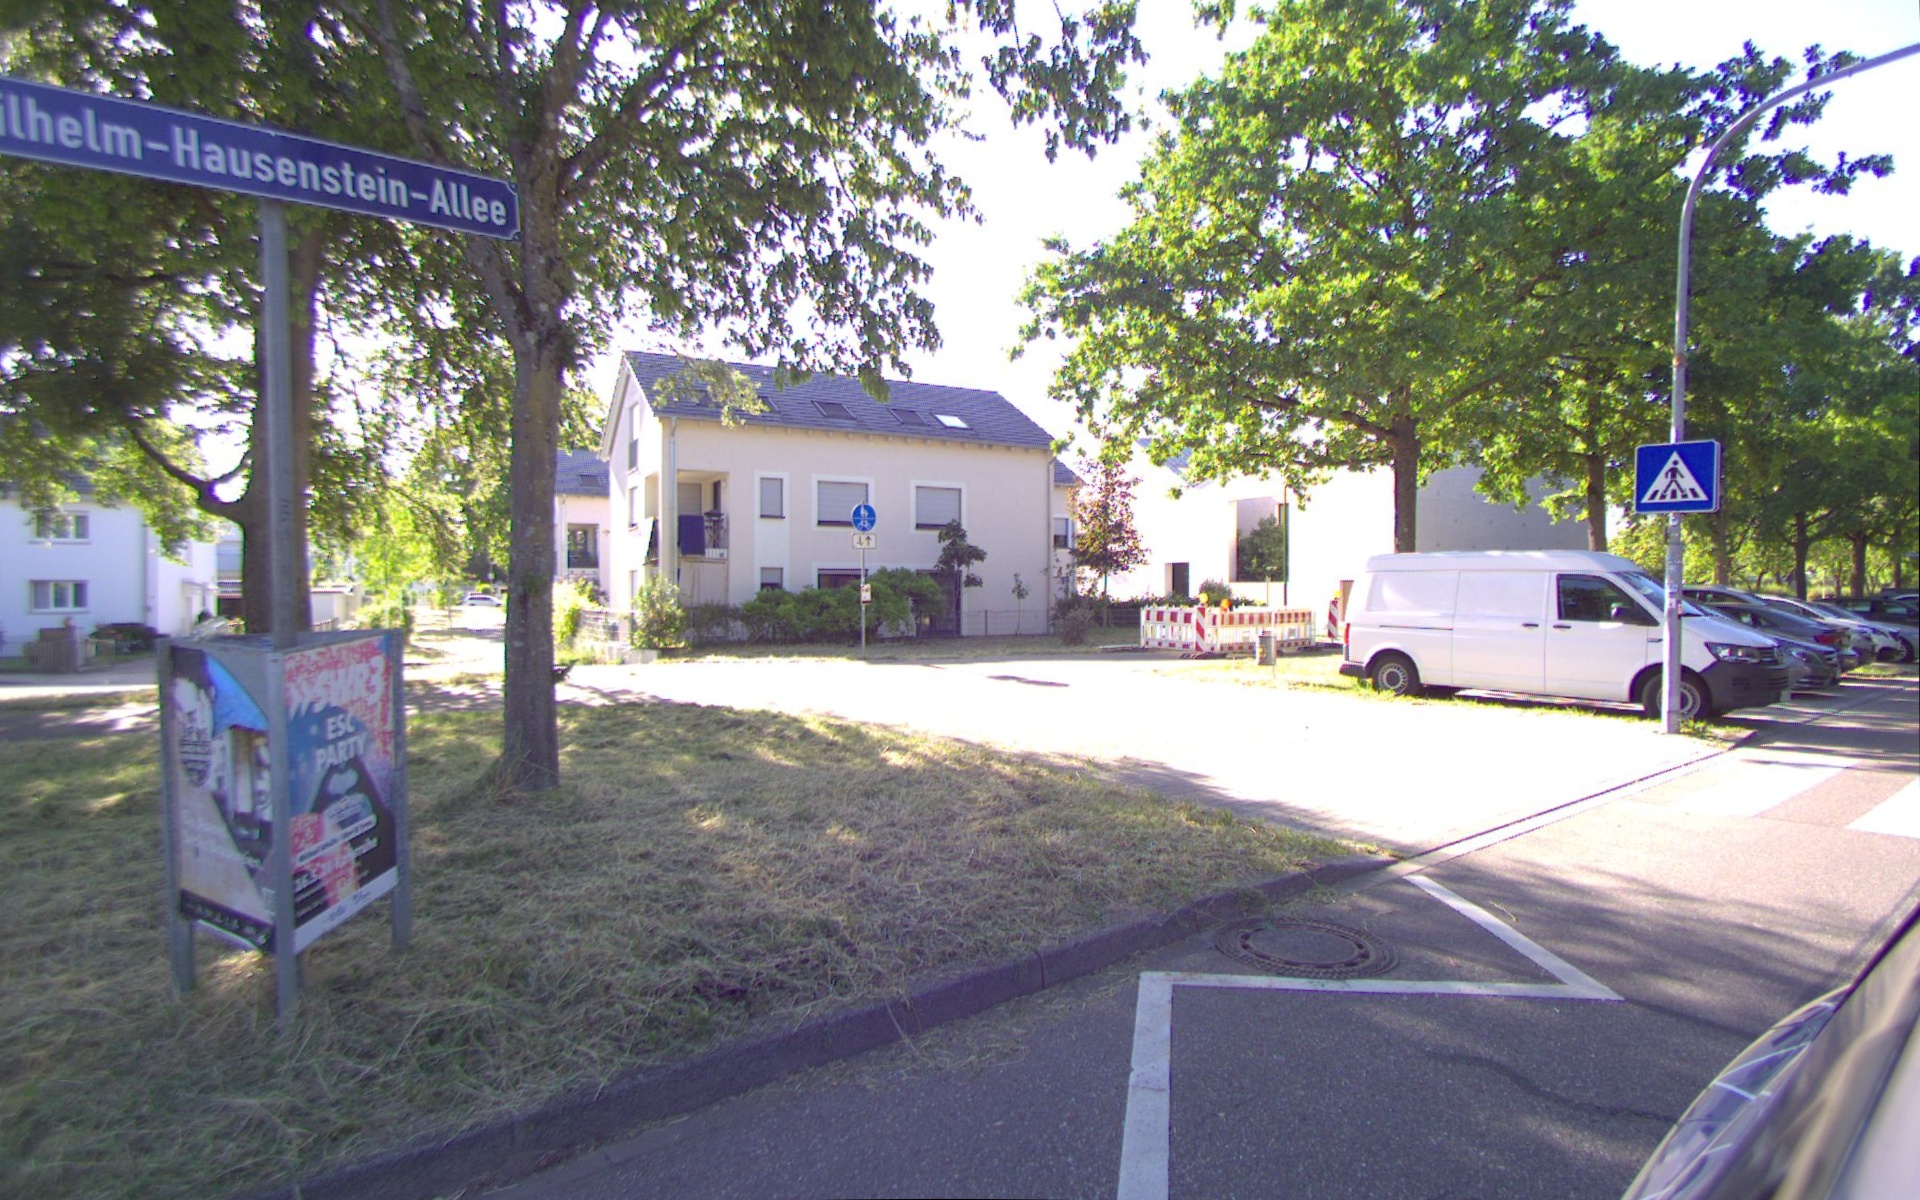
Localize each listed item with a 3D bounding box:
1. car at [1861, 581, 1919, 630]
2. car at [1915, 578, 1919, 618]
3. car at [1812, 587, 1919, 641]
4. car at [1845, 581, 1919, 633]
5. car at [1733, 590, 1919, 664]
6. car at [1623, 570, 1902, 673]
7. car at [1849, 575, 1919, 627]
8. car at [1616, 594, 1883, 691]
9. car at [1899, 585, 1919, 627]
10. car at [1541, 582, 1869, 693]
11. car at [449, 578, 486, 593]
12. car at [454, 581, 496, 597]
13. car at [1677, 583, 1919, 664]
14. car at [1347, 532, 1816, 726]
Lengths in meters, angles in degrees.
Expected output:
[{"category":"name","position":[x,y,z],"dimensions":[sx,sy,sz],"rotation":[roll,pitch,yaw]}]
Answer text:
[{"category":"car","position":[35.976,0.198,36.934],"dimensions":[1.504,1.765,4.396],"rotation":[0,0,-37]},{"category":"car","position":[43.360,-0.103,42.582],"dimensions":[1.504,1.765,4.396],"rotation":[0,0,-37]},{"category":"car","position":[30.420,0.437,32.550],"dimensions":[1.504,1.662,4.396],"rotation":[0,0,-37]},{"category":"car","position":[32.940,0.234,34.165],"dimensions":[1.504,1.765,4.396],"rotation":[0,0,-37]},{"category":"car","position":[21.513,0.612,24.643],"dimensions":[1.504,1.681,4.020],"rotation":[0,0,-37]},{"category":"car","position":[15.699,0.382,19.981],"dimensions":[1.681,1.816,4.020],"rotation":[0,0,-37]},{"category":"car","position":[37.903,0.035,39.630],"dimensions":[1.504,2.013,4.396],"rotation":[0,0,-37]},{"category":"car","position":[13.994,0.692,18.099],"dimensions":[1.421,1.561,3.517],"rotation":[0,0,-37]},{"category":"car","position":[41.432,0.237,41.263],"dimensions":[1.504,1.765,4.396],"rotation":[0,0,-37]},{"category":"car","position":[12.025,0.536,16.574],"dimensions":[1.725,1.583,3.997],"rotation":[0,0,-37]},{"category":"car","position":[-68.377,-1.956,140.535],"dimensions":[4.524,2.039,2.003],"rotation":[0,0,-24]},{"category":"car","position":[-62.408,-1.387,130.268],"dimensions":[4.543,2.039,1.995],"rotation":[0,0,-43]},{"category":"car","position":[18.989,0.492,23.091],"dimensions":[1.504,1.700,4.020],"rotation":[0,0,-37]},{"category":"car","position":[8.009,0.268,13.566],"dimensions":[1.857,2.107,5.045],"rotation":[0,1,-39]}]
